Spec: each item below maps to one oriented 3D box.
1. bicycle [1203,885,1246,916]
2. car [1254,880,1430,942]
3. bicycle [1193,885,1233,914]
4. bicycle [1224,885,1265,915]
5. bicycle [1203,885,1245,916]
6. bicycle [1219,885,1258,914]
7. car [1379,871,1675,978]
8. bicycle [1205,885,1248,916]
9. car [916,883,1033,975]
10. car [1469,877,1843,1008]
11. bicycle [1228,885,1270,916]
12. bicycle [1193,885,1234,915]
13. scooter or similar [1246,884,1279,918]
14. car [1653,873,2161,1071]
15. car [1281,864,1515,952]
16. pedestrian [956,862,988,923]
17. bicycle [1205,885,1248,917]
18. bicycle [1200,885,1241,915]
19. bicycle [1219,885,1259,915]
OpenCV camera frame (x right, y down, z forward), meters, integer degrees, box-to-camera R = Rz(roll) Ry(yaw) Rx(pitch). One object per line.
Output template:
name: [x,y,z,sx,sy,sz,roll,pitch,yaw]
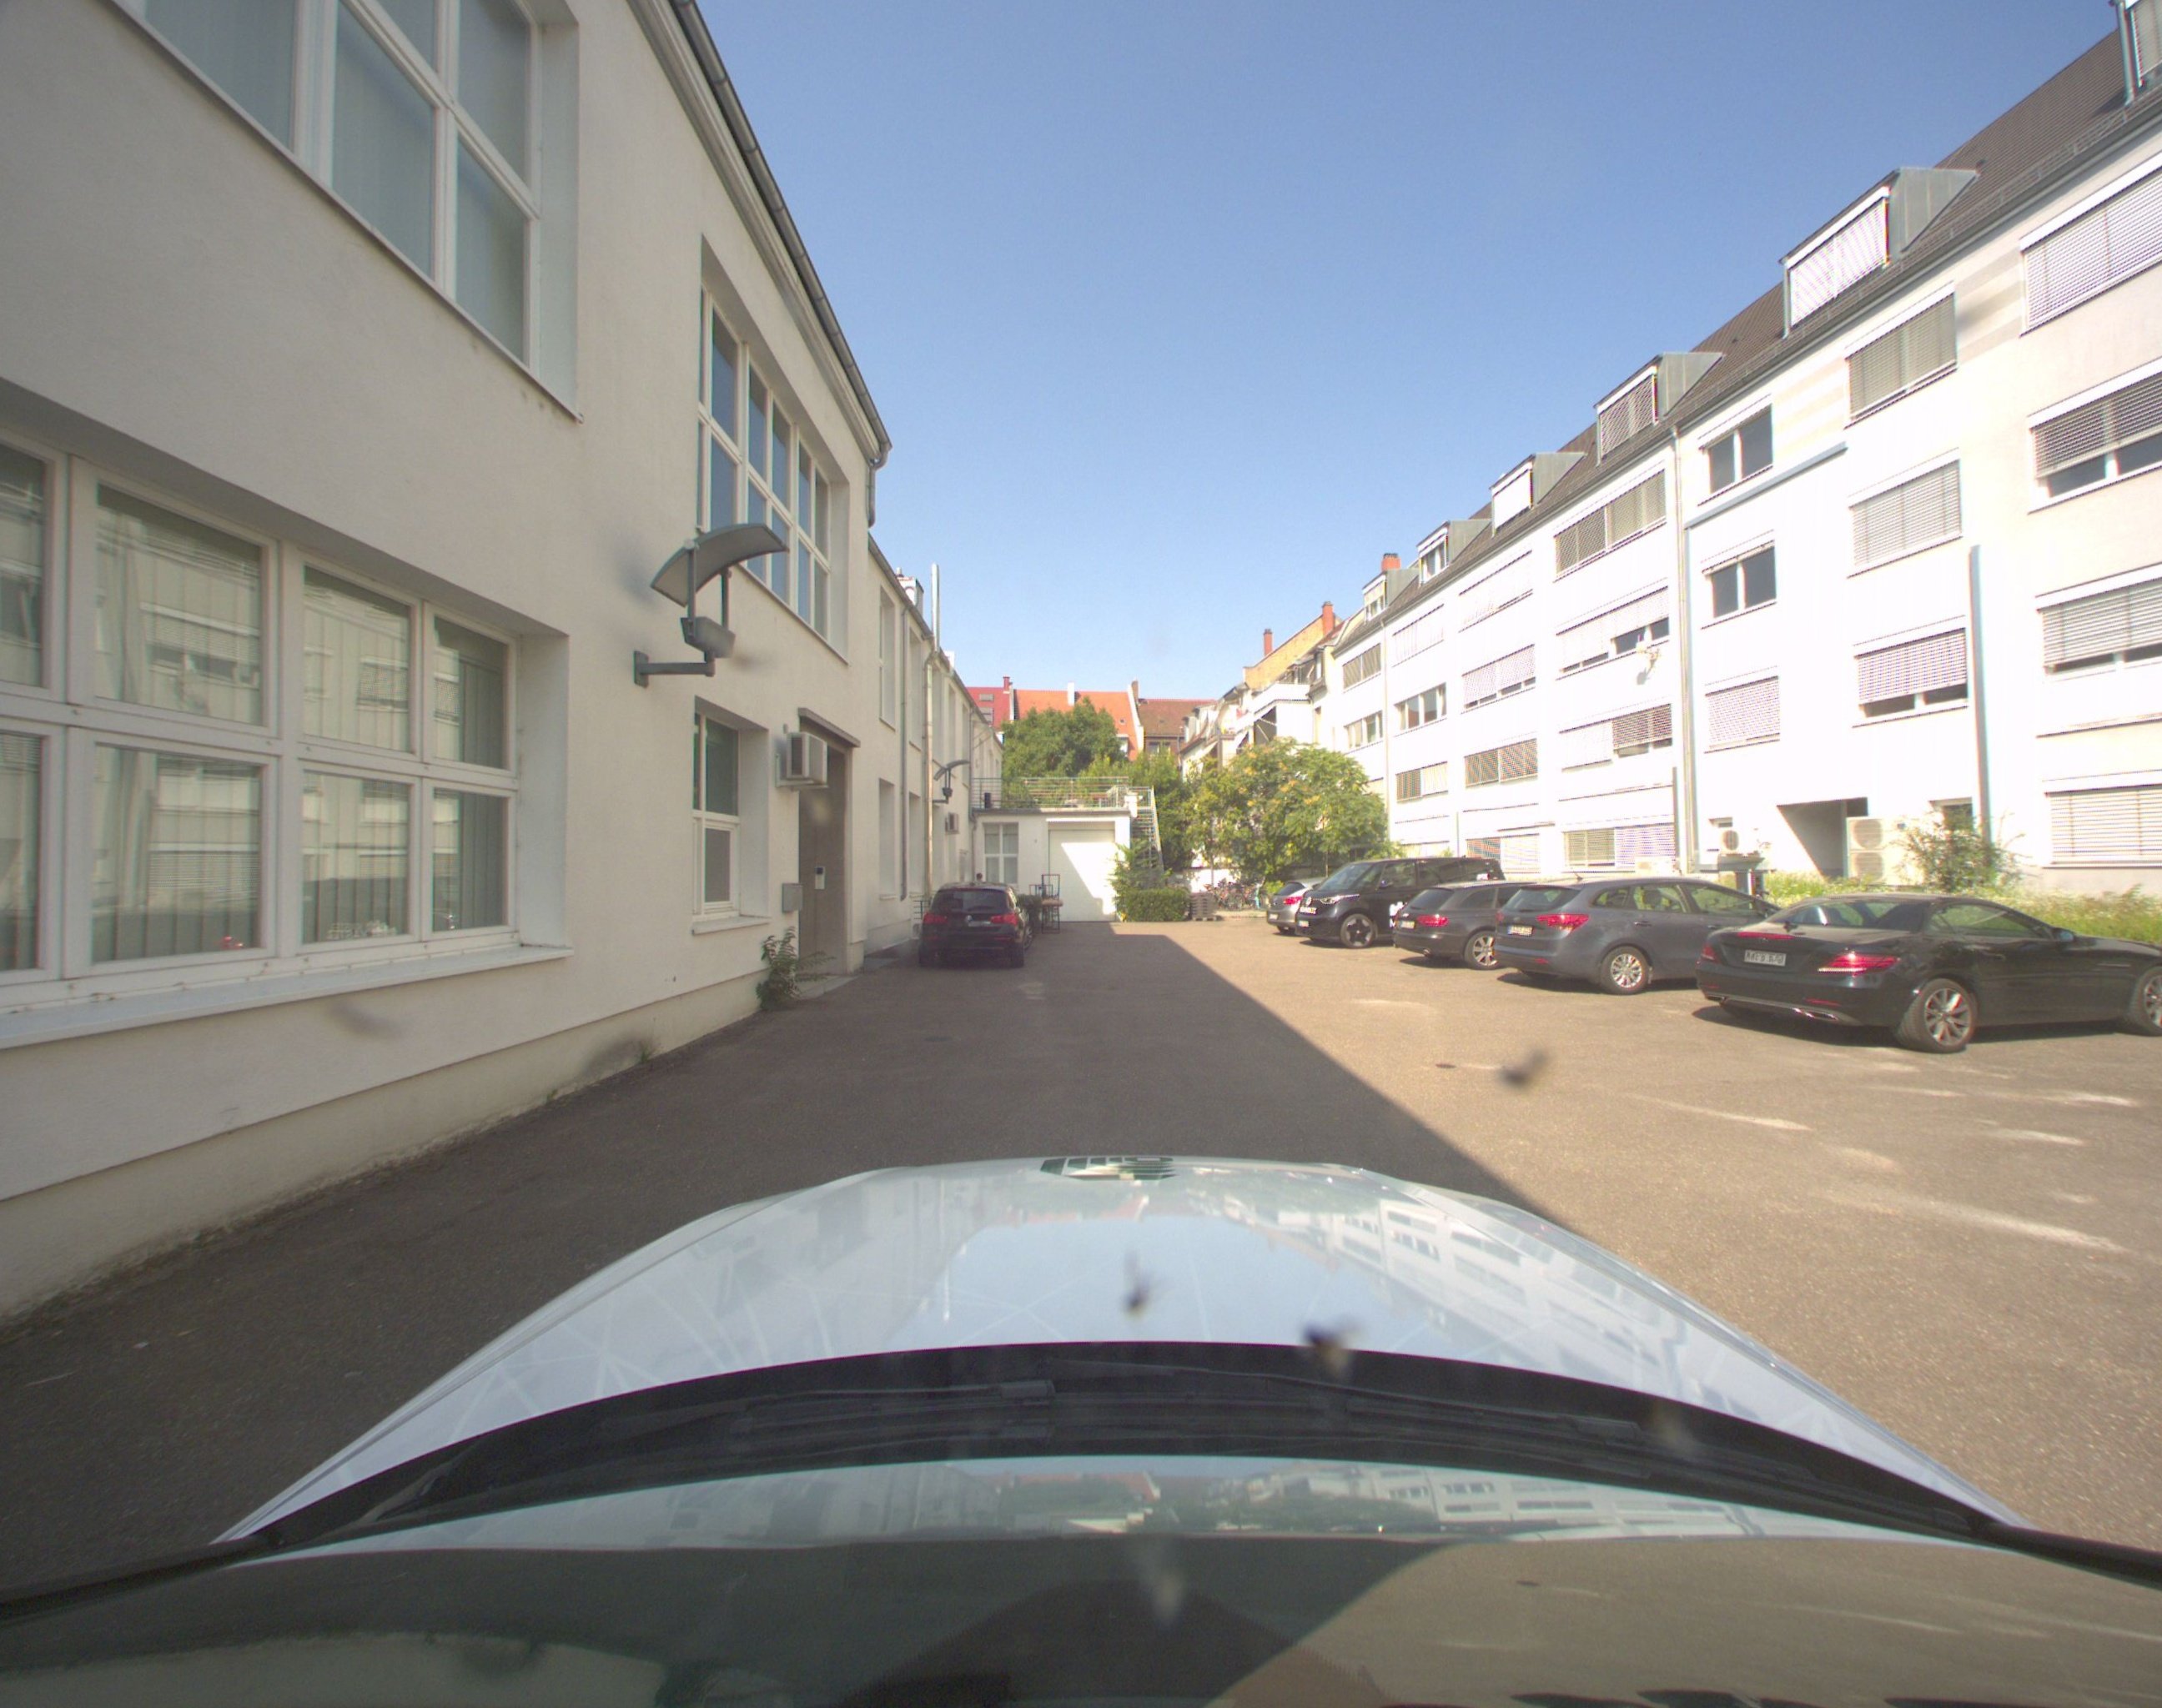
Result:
bicycle: [5.692,1.831,32.245,1.617,1.214,0.327,-1,-2,1]
car: [6.647,1.434,20.955,3.931,1.482,1.769,0,-3,-9]
bicycle: [5.560,1.916,34.369,1.621,1.214,0.423,-1,-2,-6]
bicycle: [6.716,1.886,33.460,1.612,1.214,0.425,-1,-2,13]
bicycle: [5.730,1.849,32.696,1.613,1.214,0.328,-1,-2,10]
bicycle: [6.768,1.951,35.062,1.612,1.214,0.425,-1,-2,12]
car: [7.451,1.162,13.878,4.107,1.692,1.769,0,-2,-3]
bicycle: [5.719,1.819,31.952,1.617,1.214,0.327,-1,-2,1]
car: [-1.801,1.268,14.881,1.683,1.459,3.920,0,-2,-1]
car: [7.625,1.129,11.059,3.856,1.589,1.876,1,-2,-5]
bicycle: [6.731,1.852,32.601,1.611,1.214,0.328,-1,-2,14]
bicycle: [5.472,1.890,33.735,1.618,1.214,0.424,-1,-2,-1]
scooter or similar: [6.977,1.811,31.392,0.381,1.261,1.335,0,-2,-32]
car: [7.985,1.014,7.860,3.799,1.589,1.891,1,-2,-10]
car: [6.961,1.161,18.081,4.499,1.795,1.877,0,-3,-9]
pedestrian: [-3.653,1.280,27.350,0.910,2.014,0.934,0,-3,0]
bicycle: [5.651,1.806,31.630,1.617,1.214,0.327,-1,-2,1]
bicycle: [5.655,1.863,33.059,1.612,1.214,0.328,-1,-2,13]
bicycle: [6.619,1.909,34.036,1.612,1.214,0.425,-1,-2,12]
